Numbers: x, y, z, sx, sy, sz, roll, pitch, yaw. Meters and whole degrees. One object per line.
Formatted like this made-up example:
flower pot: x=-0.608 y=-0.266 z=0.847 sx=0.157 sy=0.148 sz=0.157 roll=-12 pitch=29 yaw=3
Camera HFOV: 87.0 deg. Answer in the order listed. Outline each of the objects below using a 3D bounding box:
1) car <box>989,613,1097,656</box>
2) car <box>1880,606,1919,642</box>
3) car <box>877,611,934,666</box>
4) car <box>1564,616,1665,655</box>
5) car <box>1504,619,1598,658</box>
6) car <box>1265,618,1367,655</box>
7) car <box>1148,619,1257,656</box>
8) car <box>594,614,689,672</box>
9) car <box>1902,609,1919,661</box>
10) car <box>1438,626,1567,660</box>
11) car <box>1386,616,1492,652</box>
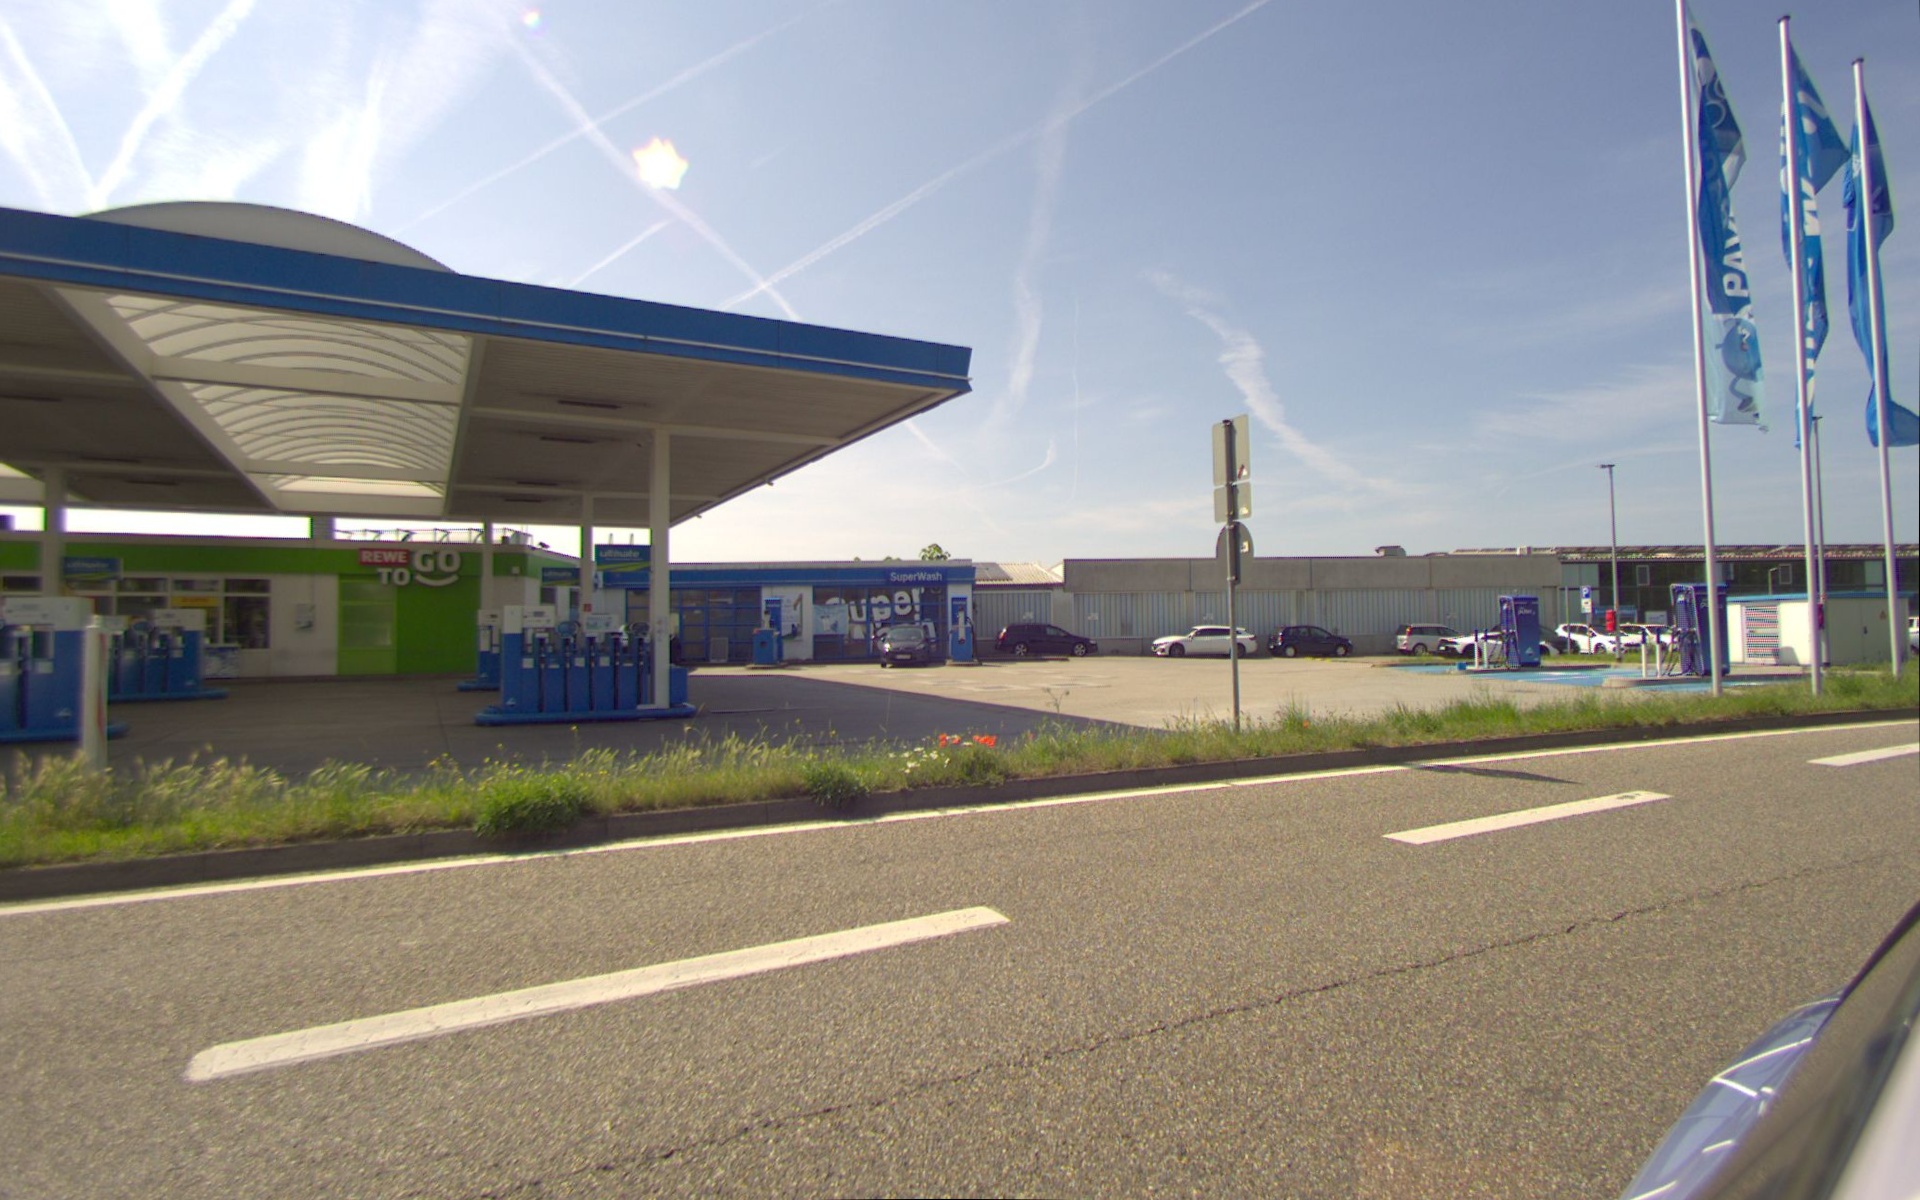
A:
car: x=3.702 y=1.543 z=45.792 sx=4.561 sy=1.849 sz=1.892 roll=0 pitch=-1 yaw=-6
car: x=44.611 y=1.110 z=45.843 sx=1.787 sy=1.659 sz=4.464 roll=1 pitch=-1 yaw=0
car: x=-1.903 y=1.338 z=36.539 sx=1.854 sy=1.849 sz=4.171 roll=0 pitch=-1 yaw=0
car: x=28.728 y=1.517 z=44.566 sx=1.855 sy=1.625 sz=4.018 roll=-1 pitch=-1 yaw=2
car: x=26.141 y=1.661 z=44.953 sx=1.855 sy=1.625 sz=4.018 roll=-1 pitch=-1 yaw=2
car: x=16.309 y=1.650 z=46.518 sx=3.944 sy=1.625 sz=1.890 roll=0 pitch=-1 yaw=-1
car: x=11.011 y=1.684 z=46.084 sx=4.440 sy=1.625 sz=1.891 roll=0 pitch=-1 yaw=-4
car: x=-11.071 y=1.525 z=35.476 sx=1.867 sy=1.850 sz=4.732 roll=-2 pitch=-3 yaw=0
car: x=37.033 y=1.228 z=35.818 sx=5.217 sy=1.854 sz=1.971 roll=-2 pitch=-2 yaw=40
car: x=21.145 y=1.686 z=39.592 sx=4.052 sy=1.269 sz=1.696 roll=-1 pitch=-1 yaw=5
car: x=22.051 y=1.557 z=46.676 sx=3.948 sy=1.625 sz=1.888 roll=-1 pitch=-1 yaw=3
